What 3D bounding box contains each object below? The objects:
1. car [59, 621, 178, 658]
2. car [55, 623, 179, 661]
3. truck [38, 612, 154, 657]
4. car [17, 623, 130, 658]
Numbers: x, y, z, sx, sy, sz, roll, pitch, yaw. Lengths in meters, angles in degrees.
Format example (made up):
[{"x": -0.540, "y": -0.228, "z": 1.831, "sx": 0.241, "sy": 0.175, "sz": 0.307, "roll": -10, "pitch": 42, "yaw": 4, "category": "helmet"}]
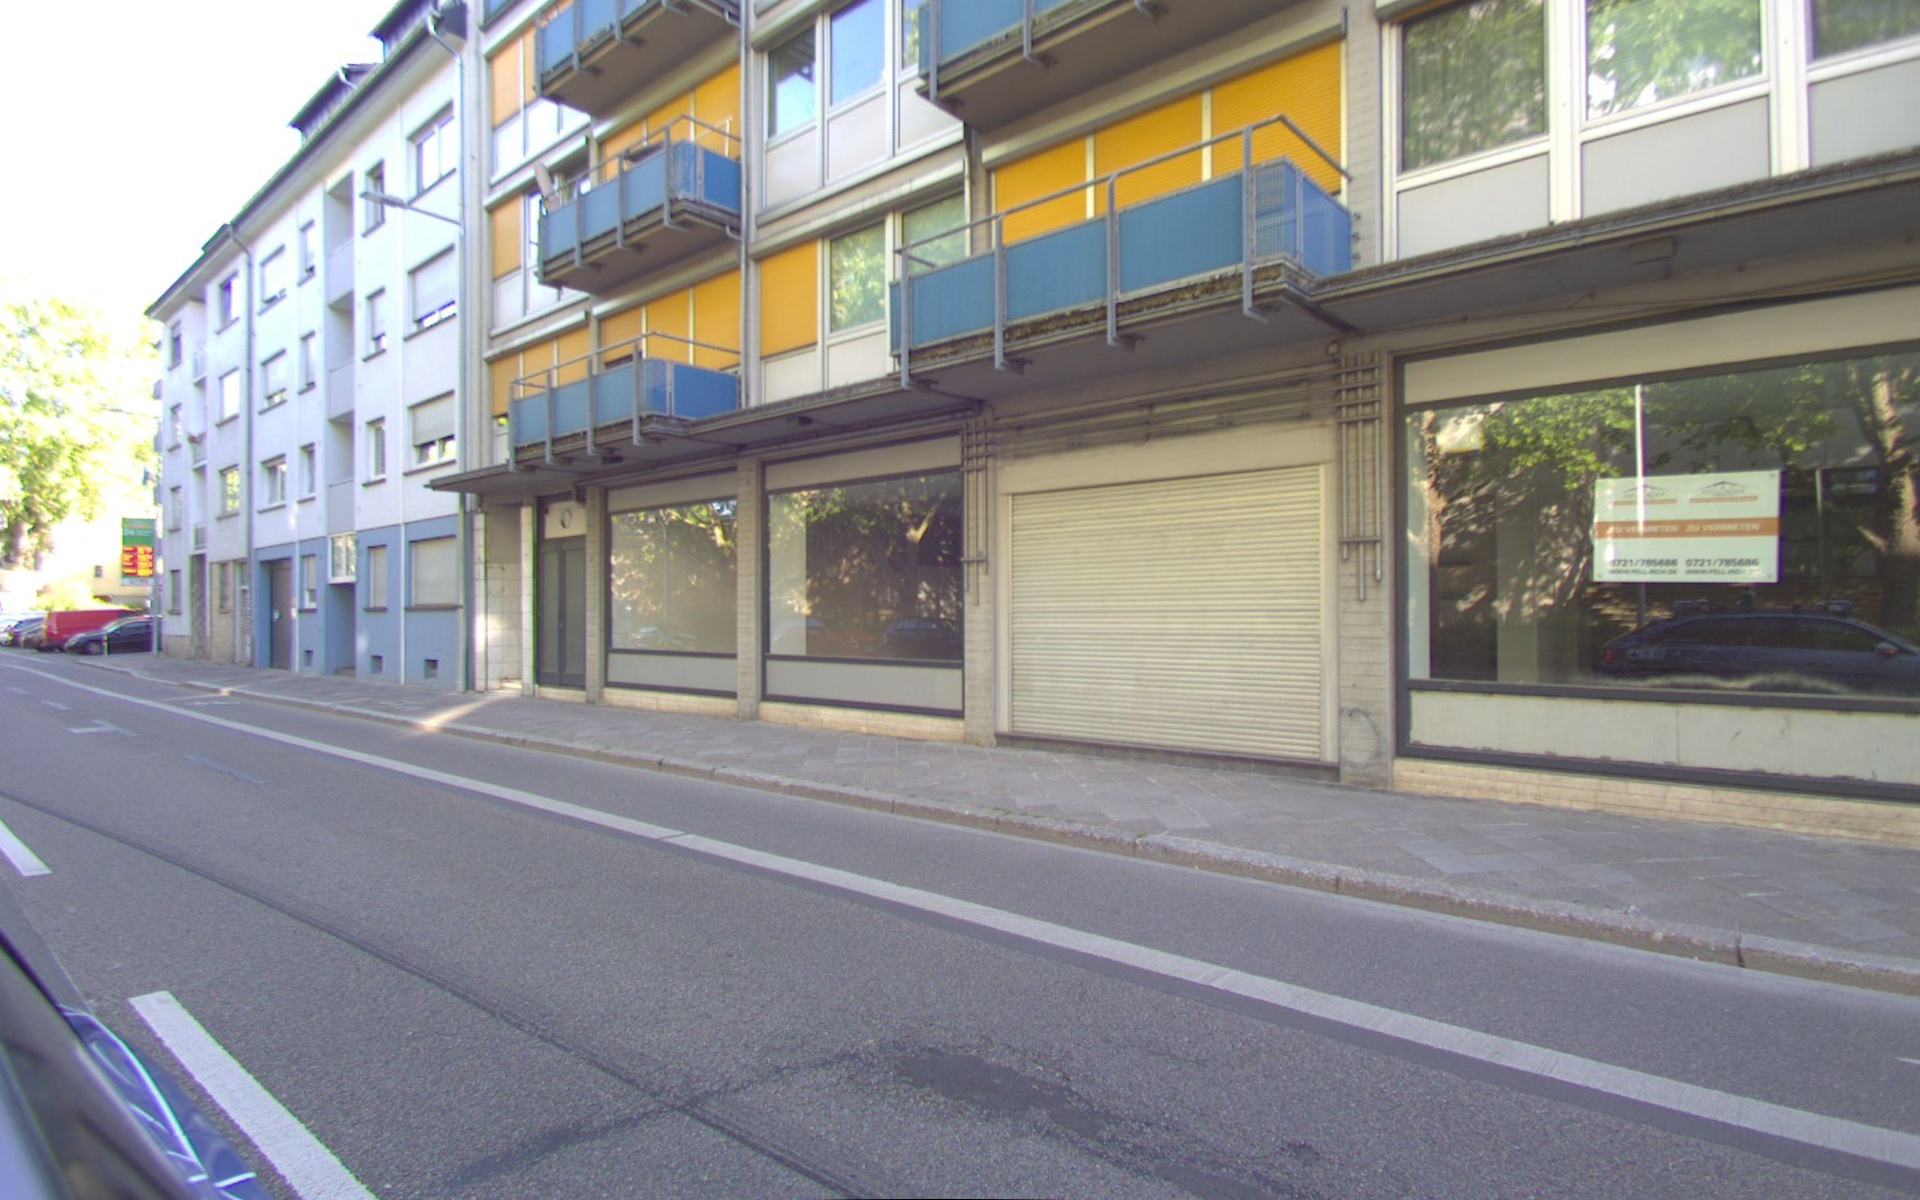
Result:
[{"x": -38.111, "y": 1.768, "z": 45.907, "sx": 1.761, "sy": 1.514, "sz": 3.944, "roll": -1, "pitch": 0, "yaw": 42, "category": "car"}, {"x": -36.631, "y": 1.771, "z": 44.019, "sx": 1.761, "sy": 1.468, "sz": 3.944, "roll": -1, "pitch": 0, "yaw": 42, "category": "car"}, {"x": -40.502, "y": 1.580, "z": 47.498, "sx": 1.761, "sy": 1.951, "sz": 3.944, "roll": -1, "pitch": 0, "yaw": 42, "category": "truck"}, {"x": -42.912, "y": 1.912, "z": 49.046, "sx": 1.761, "sy": 1.514, "sz": 3.944, "roll": -1, "pitch": 0, "yaw": 42, "category": "car"}]
